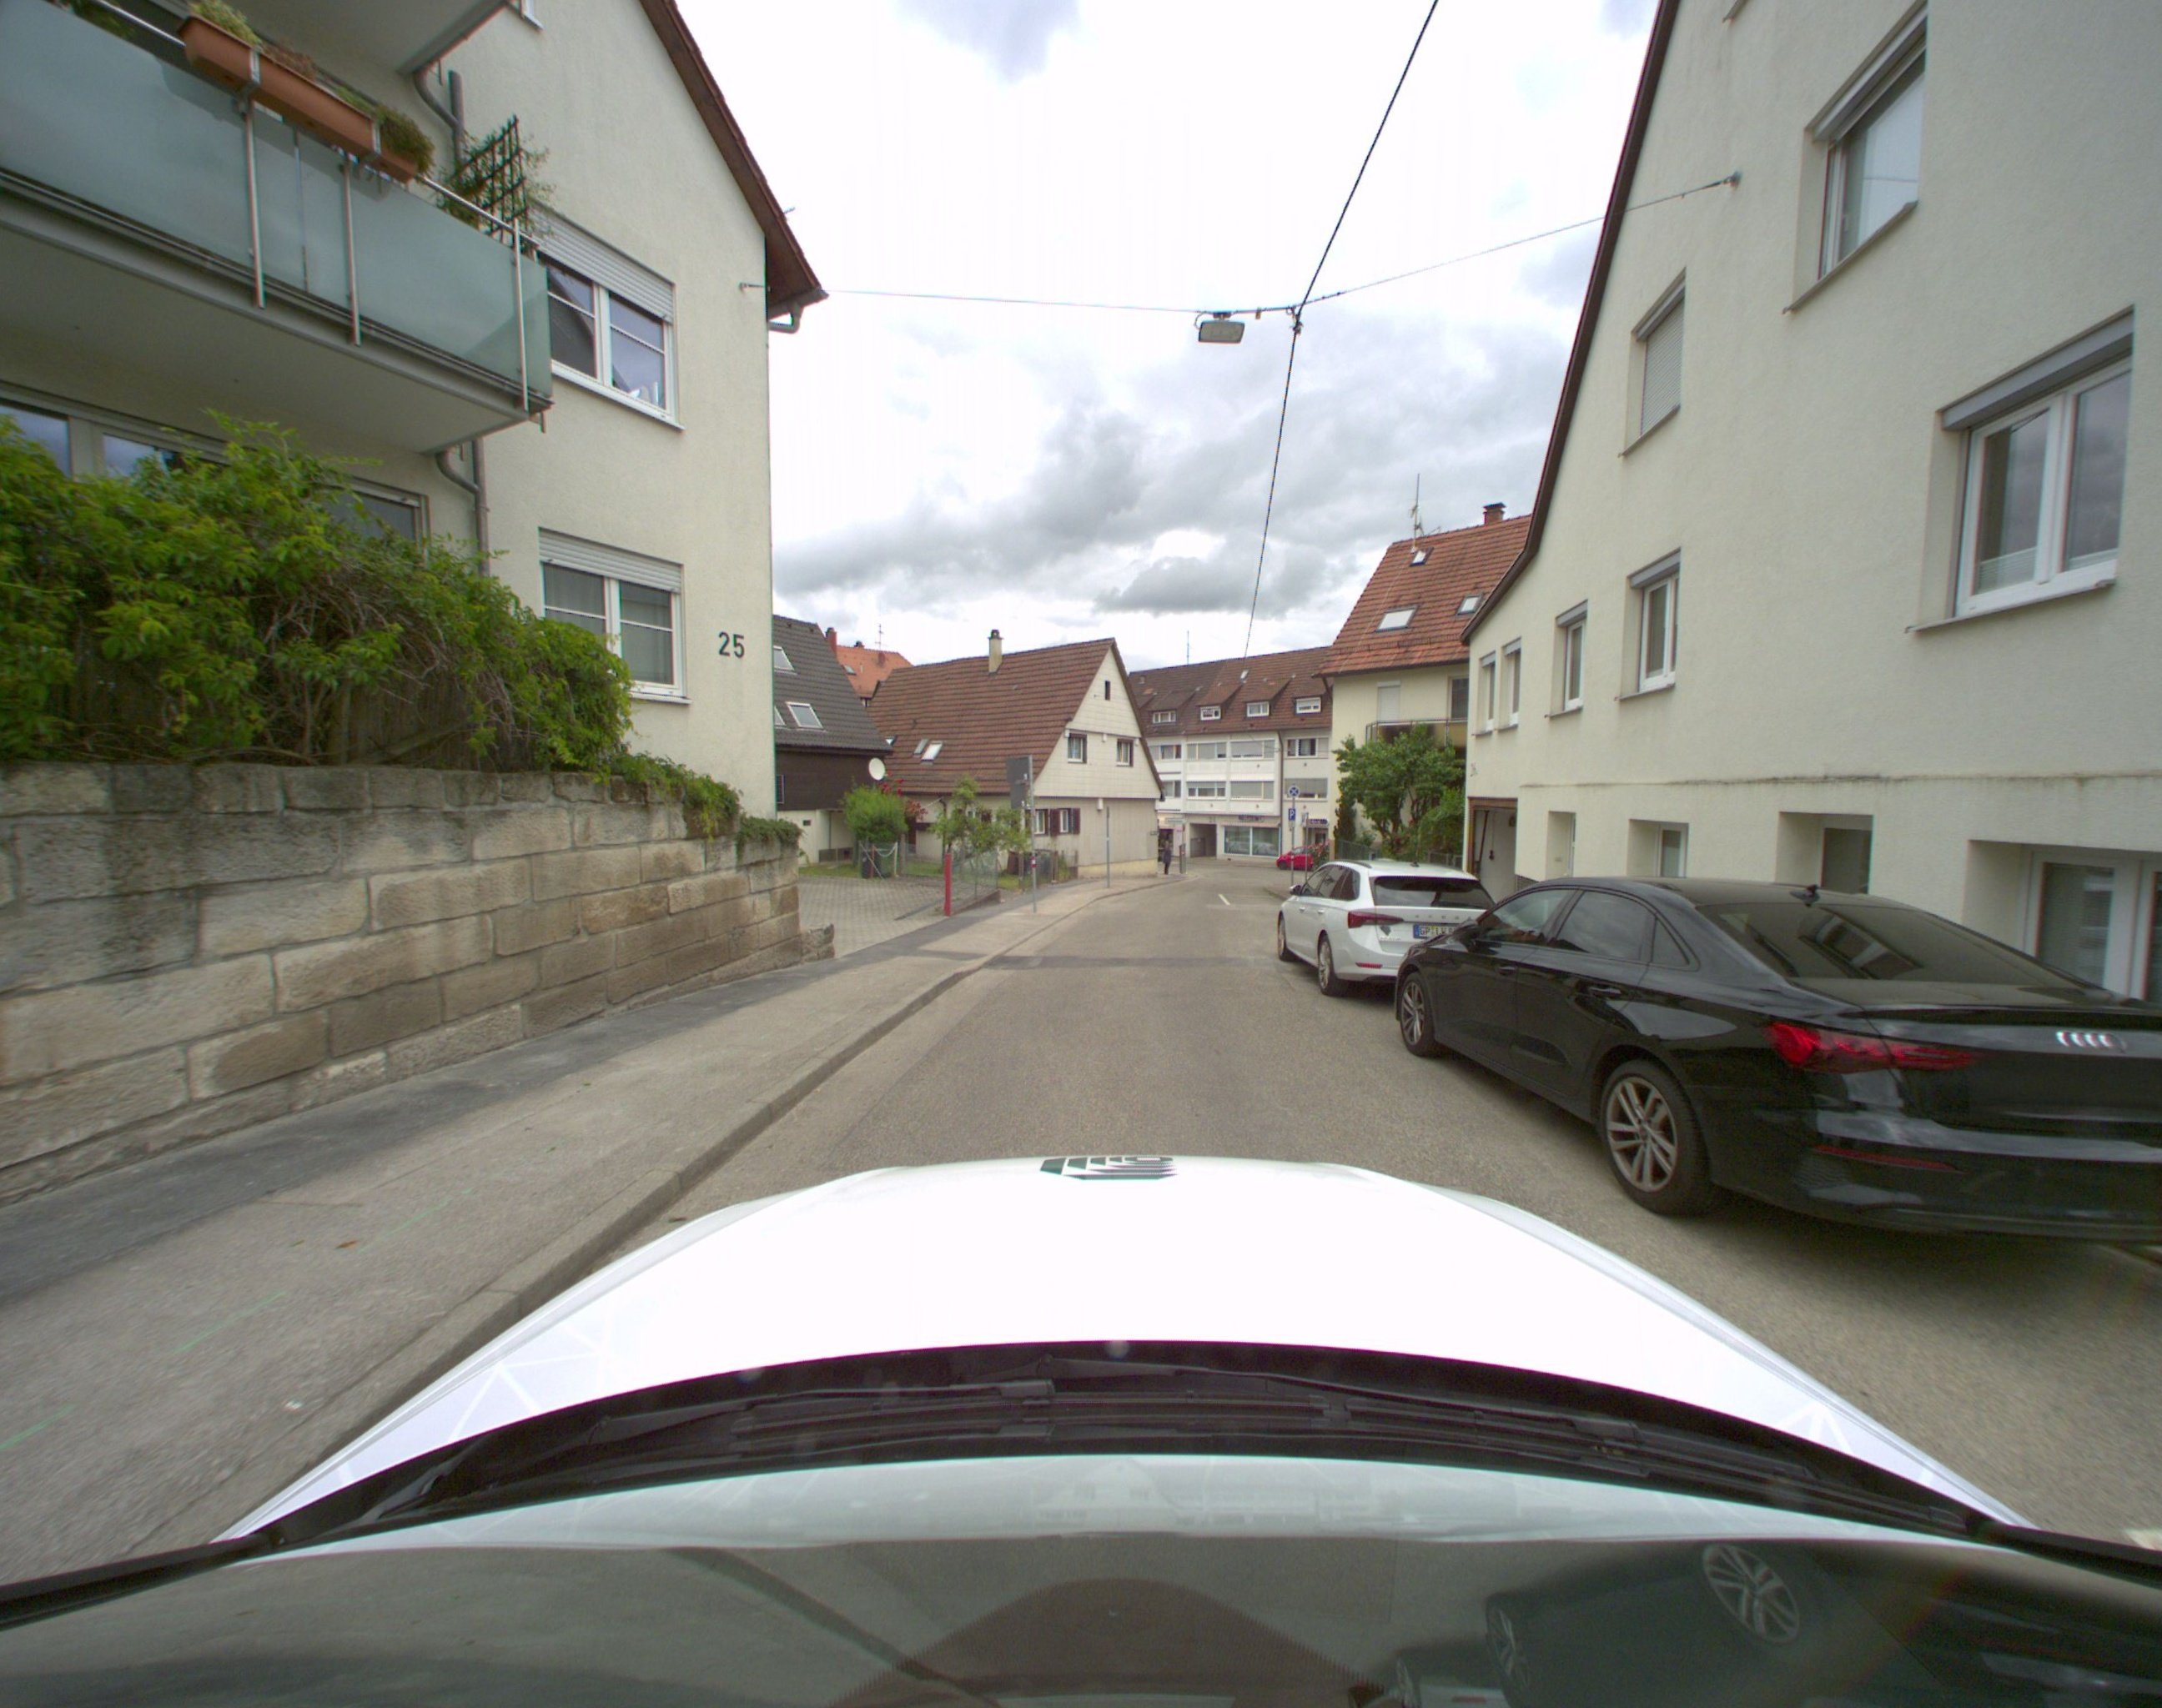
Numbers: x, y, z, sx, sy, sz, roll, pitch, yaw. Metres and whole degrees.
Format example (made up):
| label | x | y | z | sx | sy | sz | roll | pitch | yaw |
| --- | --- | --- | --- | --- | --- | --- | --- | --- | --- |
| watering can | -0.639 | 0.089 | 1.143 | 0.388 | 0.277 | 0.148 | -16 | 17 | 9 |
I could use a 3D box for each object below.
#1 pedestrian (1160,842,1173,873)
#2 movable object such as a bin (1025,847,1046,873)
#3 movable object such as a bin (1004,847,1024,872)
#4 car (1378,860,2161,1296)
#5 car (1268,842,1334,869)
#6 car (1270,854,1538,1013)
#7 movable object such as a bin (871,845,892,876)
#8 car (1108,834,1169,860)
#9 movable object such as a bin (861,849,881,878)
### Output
| label | x | y | z | sx | sy | sz | roll | pitch | yaw |
| --- | --- | --- | --- | --- | --- | --- | --- | --- | --- |
| pedestrian | 4.711 | 0.200 | 44.719 | 0.642 | 1.684 | 0.606 | 1 | 1 | 12 |
| movable object such as a bin | -1.637 | 0.224 | 29.337 | 0.522 | 0.884 | 0.493 | 5 | 1 | 35 |
| movable object such as a bin | -2.469 | 0.205 | 29.992 | 0.490 | 0.878 | 0.455 | 5 | 1 | 36 |
| car | 3.286 | 0.791 | 4.830 | 1.667 | 1.408 | 4.053 | 2 | 0 | 2 |
| car | 13.760 | 0.059 | 51.052 | 1.707 | 1.556 | 3.651 | -1 | 2 | -43 |
| car | 3.575 | 0.754 | 9.916 | 1.787 | 1.445 | 4.302 | 2 | 0 | 4 |
| movable object such as a bin | -6.343 | 0.213 | 25.911 | 0.395 | 0.981 | 0.511 | 0 | 0 | 23 |
| car | 4.202 | -0.543 | 60.261 | 1.959 | 1.779 | 4.315 | -2 | 3 | -44 |
| movable object such as a bin | -6.547 | 0.282 | 25.396 | 0.373 | 0.893 | 0.493 | 0 | 0 | 23 |
